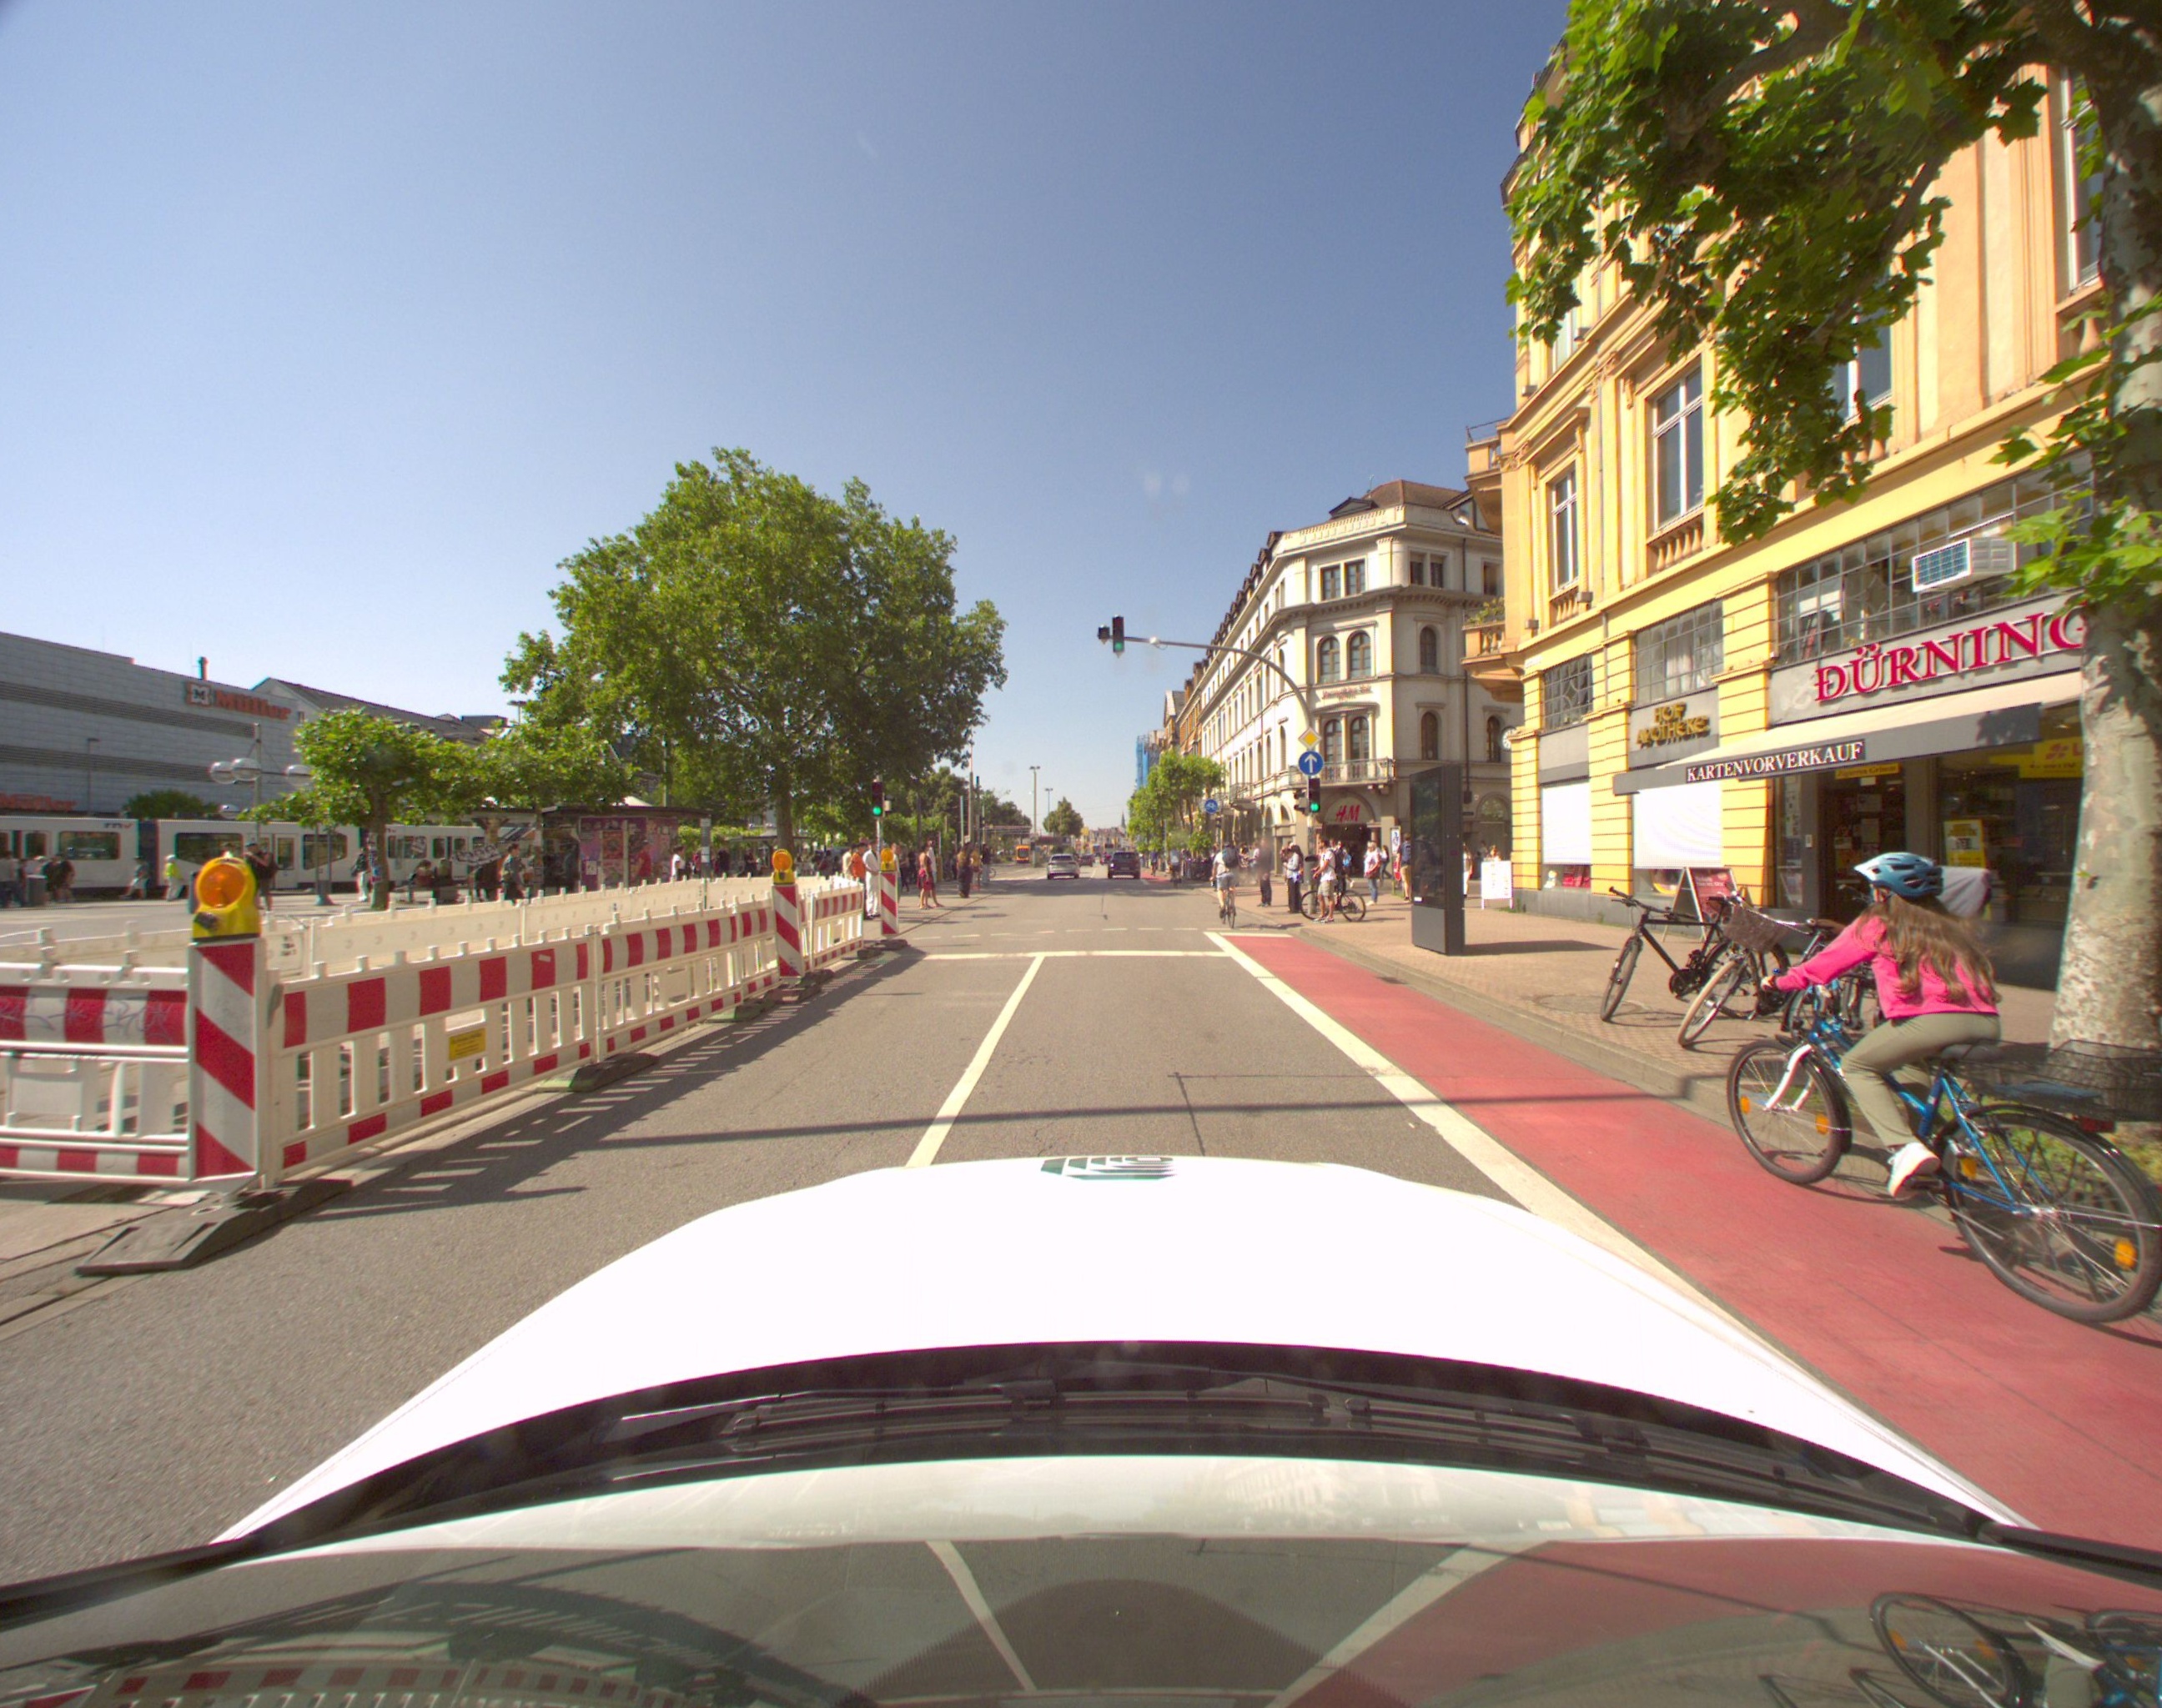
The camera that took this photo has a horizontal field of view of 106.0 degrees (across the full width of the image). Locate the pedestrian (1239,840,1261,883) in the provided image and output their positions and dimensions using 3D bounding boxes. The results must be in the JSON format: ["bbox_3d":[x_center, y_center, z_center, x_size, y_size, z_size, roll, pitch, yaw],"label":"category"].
[{"bbox_3d":[7.366,0.332,35.530,0.608,1.806,0.677,-6,0,0],"label":"pedestrian"}]

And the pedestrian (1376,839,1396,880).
[{"bbox_3d":[13.259,0.242,35.367,0.608,1.763,0.677,0,-1,0],"label":"pedestrian"}]

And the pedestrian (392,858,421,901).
[{"bbox_3d":[-19.909,0.741,24.024,0.616,1.262,0.604,0,0,-43],"label":"pedestrian"}]

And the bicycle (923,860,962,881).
[{"bbox_3d":[-7.640,0.892,44.960,2.082,1.089,0.682,-1,-1,-10],"label":"bicycle"}]

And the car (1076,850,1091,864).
[{"bbox_3d":[0.327,0.357,98.462,1.839,1.560,4.001,0,0,1],"label":"car"}]

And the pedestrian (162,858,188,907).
[{"bbox_3d":[-33.355,1.040,29.969,0.737,1.749,0.610,0,0,40],"label":"pedestrian"}]

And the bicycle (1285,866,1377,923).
[{"bbox_3d":[5.170,0.812,16.954,0.604,1.082,1.820,-3,1,-33],"label":"bicycle"}]

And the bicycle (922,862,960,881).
[{"bbox_3d":[-7.912,0.981,45.968,2.082,0.980,0.682,-1,-1,-10],"label":"bicycle"}]

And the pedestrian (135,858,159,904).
[{"bbox_3d":[-36.423,1.035,31.753,0.793,1.749,0.610,0,0,40],"label":"pedestrian"}]

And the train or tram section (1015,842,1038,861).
[{"bbox_3d":[-10.033,-0.499,150.739,2.600,3.348,11.018,0,0,5],"label":"train or tram section"}]

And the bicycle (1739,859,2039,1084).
[{"bbox_3d":[5.383,0.697,5.431,1.826,1.309,0.684,0,0,-19],"label":"bicycle"}]

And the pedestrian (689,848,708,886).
[{"bbox_3d":[-16.203,0.552,34.500,0.494,1.603,0.501,-2,-1,21],"label":"pedestrian"}]

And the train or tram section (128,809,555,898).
[{"bbox_3d":[-35.573,-0.067,40.815,2.587,3.676,15.647,0,0,35],"label":"train or tram section"}]

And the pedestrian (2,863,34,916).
[{"bbox_3d":[-36.359,1.195,27.863,0.737,1.749,0.610,0,0,40],"label":"pedestrian"}]

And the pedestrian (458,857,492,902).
[{"bbox_3d":[-17.378,0.708,23.356,0.605,1.262,0.615,0,0,37],"label":"pedestrian"}]

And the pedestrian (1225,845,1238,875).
[{"bbox_3d":[8.999,0.350,48.709,0.626,1.791,0.612,-1,0,1],"label":"pedestrian"}]

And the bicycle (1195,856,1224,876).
[{"bbox_3d":[6.681,0.643,42.431,1.415,0.980,0.401,-2,1,2],"label":"bicycle"}]

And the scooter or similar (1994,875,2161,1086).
[{"bbox_3d":[6.341,0.734,4.793,0.422,1.178,1.224,0,0,-19],"label":"scooter or similar"}]

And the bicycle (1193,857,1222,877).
[{"bbox_3d":[6.512,0.648,41.999,1.415,0.980,0.445,-2,1,2],"label":"bicycle"}]

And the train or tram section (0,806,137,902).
[{"bbox_3d":[-43.413,0.018,30.036,2.588,3.676,11.072,0,0,37],"label":"train or tram section"}]

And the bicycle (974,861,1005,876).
[{"bbox_3d":[-6.175,0.975,55.087,1.967,1.026,0.675,0,0,-18],"label":"bicycle"}]

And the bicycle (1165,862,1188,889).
[{"bbox_3d":[3.956,0.883,33.950,0.771,1.006,2.330,-1,1,2],"label":"bicycle"}]

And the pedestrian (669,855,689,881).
[{"bbox_3d":[-23.395,0.815,47.374,0.738,1.514,0.739,0,0,15],"label":"pedestrian"}]

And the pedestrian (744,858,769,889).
[{"bbox_3d":[-13.600,0.808,34.096,0.627,1.293,0.735,-1,-1,22],"label":"pedestrian"}]

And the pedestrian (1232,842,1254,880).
[{"bbox_3d":[7.295,0.313,36.693,0.613,1.705,0.672,-2,0,-27],"label":"pedestrian"}]

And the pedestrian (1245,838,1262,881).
[{"bbox_3d":[7.368,0.236,34.802,0.608,1.807,0.677,0,-1,0],"label":"pedestrian"}]

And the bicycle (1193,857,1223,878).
[{"bbox_3d":[6.331,0.655,40.592,1.415,0.980,0.445,-2,1,2],"label":"bicycle"}]

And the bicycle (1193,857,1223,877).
[{"bbox_3d":[6.475,0.660,41.506,1.415,0.980,0.445,-2,1,2],"label":"bicycle"}]

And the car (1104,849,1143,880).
[{"bbox_3d":[2.378,0.552,46.233,1.840,1.559,3.999,-4,1,-1],"label":"car"}]

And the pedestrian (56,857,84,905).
[{"bbox_3d":[-36.952,0.971,29.774,0.737,1.749,0.610,0,0,40],"label":"pedestrian"}]

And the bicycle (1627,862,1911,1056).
[{"bbox_3d":[5.094,0.703,6.035,1.938,1.257,0.701,0,0,-18],"label":"bicycle"}]

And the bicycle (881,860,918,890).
[{"bbox_3d":[-6.581,0.762,29.553,0.486,1.029,1.941,-1,0,14],"label":"bicycle"}]

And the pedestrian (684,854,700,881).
[{"bbox_3d":[-22.306,0.778,46.727,0.603,1.514,0.745,0,0,-5],"label":"pedestrian"}]

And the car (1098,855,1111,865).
[{"bbox_3d":[3.641,0.907,126.535,1.839,1.413,4.001,0,0,1],"label":"car"}]

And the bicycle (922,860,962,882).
[{"bbox_3d":[-7.445,0.898,43.628,2.082,1.089,0.682,-1,-1,-10],"label":"bicycle"}]

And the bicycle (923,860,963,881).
[{"bbox_3d":[-7.506,0.899,44.306,2.082,1.089,0.682,-1,-1,-10],"label":"bicycle"}]

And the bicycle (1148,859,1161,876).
[{"bbox_3d":[4.608,0.823,51.192,0.645,0.998,2.031,0,0,1],"label":"bicycle"}]

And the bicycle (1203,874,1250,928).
[{"bbox_3d":[2.932,0.920,16.568,0.628,0.980,2.089,0,0,1],"label":"bicycle"}]

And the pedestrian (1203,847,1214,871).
[{"bbox_3d":[8.898,0.336,56.844,0.673,1.665,0.612,-1,0,0],"label":"pedestrian"}]

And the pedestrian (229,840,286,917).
[{"bbox_3d":[-19.229,0.557,19.024,0.598,1.749,0.809,0,-1,33],"label":"pedestrian"}]

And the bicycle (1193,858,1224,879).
[{"bbox_3d":[6.211,0.694,39.772,1.415,0.980,0.445,-2,1,2],"label":"bicycle"}]

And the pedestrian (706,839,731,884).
[{"bbox_3d":[-14.839,0.320,33.373,0.627,1.810,0.618,-3,-2,21],"label":"pedestrian"}]

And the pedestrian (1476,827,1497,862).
[{"bbox_3d":[18.556,-0.436,37.272,0.660,1.600,0.563,0,1,-24],"label":"pedestrian"}]

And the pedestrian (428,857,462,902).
[{"bbox_3d":[-18.273,0.735,23.403,0.611,1.262,0.609,0,0,-20],"label":"pedestrian"}]

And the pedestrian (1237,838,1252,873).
[{"bbox_3d":[8.520,0.096,42.518,0.673,1.791,0.612,-1,0,1],"label":"pedestrian"}]

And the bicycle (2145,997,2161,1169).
[{"bbox_3d":[5.575,0.982,3.525,1.850,0.715,0.655,0,0,-20],"label":"bicycle"}]

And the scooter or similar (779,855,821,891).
[{"bbox_3d":[-11.494,0.775,33.363,1.264,1.421,1.045,-1,0,32],"label":"scooter or similar"}]

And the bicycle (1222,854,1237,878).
[{"bbox_3d":[7.313,0.561,39.983,0.396,1.114,1.433,-1,1,22],"label":"bicycle"}]

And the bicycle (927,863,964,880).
[{"bbox_3d":[-7.869,1.010,47.192,2.082,0.980,0.682,-1,-1,-10],"label":"bicycle"}]

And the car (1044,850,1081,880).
[{"bbox_3d":[-1.028,0.598,47.255,1.838,1.560,4.002,-1,0,2],"label":"car"}]

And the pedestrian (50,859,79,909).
[{"bbox_3d":[-36.587,1.057,29.314,0.737,1.749,0.610,0,0,40],"label":"pedestrian"}]

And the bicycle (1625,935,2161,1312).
[{"bbox_3d":[3.256,0.885,3.412,0.598,0.926,2.088,0,-1,2],"label":"bicycle"}]

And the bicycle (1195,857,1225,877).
[{"bbox_3d":[6.496,0.650,41.050,1.415,0.980,0.445,-2,1,2],"label":"bicycle"}]

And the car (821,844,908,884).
[{"bbox_3d":[-11.132,0.504,42.238,1.843,1.955,4.786,-1,0,23],"label":"car"}]

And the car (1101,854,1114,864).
[{"bbox_3d":[3.726,0.687,114.726,1.839,1.413,4.001,0,0,1],"label":"car"}]

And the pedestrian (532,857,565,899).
[{"bbox_3d":[-16.306,0.732,24.940,0.605,1.262,0.615,0,0,28],"label":"pedestrian"}]

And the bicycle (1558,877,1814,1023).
[{"bbox_3d":[5.098,0.789,6.916,1.777,1.122,0.562,-1,0,-2],"label":"bicycle"}]

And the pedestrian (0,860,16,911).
[{"bbox_3d":[-37.625,1.090,28.355,0.737,1.749,0.610,0,0,40],"label":"pedestrian"}]
